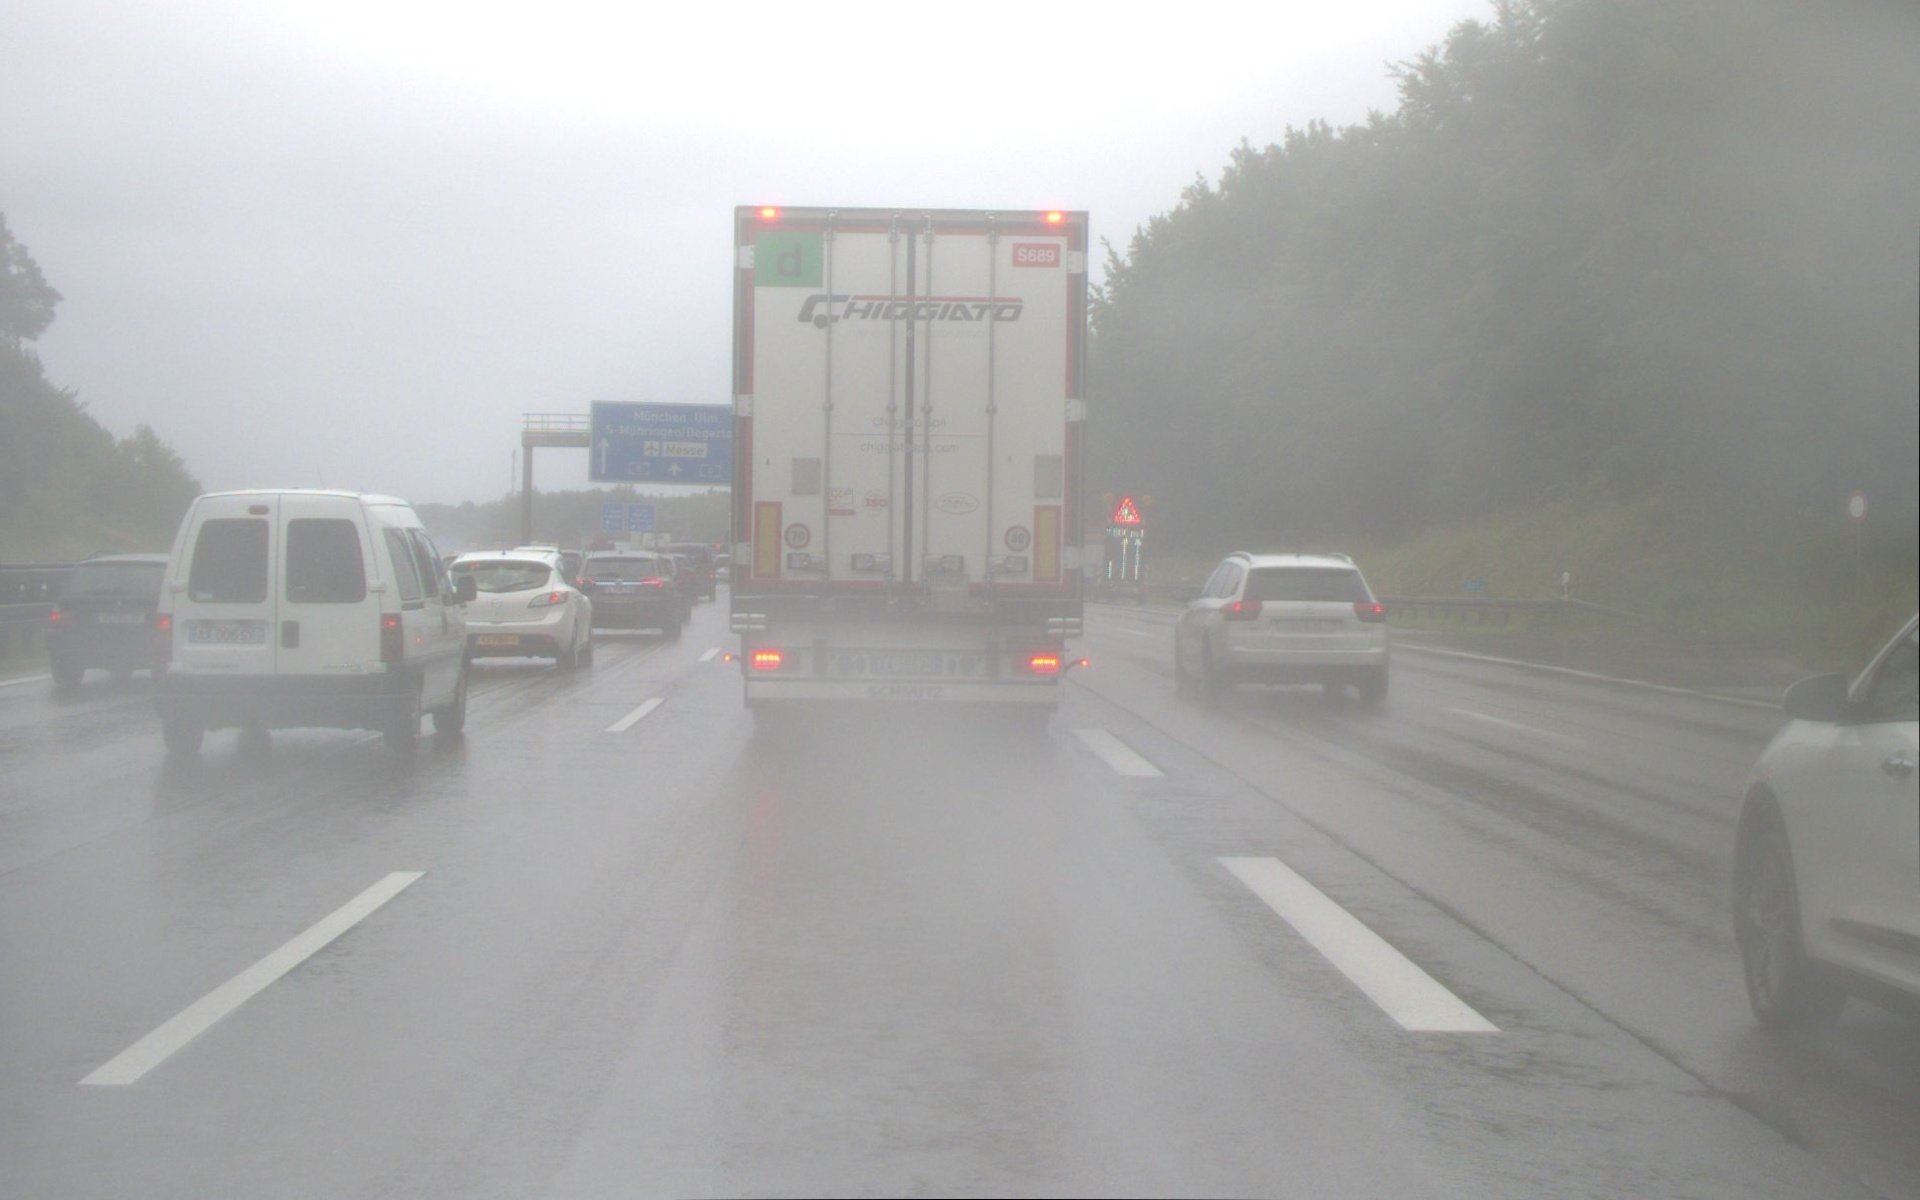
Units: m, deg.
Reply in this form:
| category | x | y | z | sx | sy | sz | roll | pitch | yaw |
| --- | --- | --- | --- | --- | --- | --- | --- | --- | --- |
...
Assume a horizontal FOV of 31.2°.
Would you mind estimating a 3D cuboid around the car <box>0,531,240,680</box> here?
| category | x | y | z | sx | sy | sz | roll | pitch | yaw |
| --- | --- | --- | --- | --- | --- | --- | --- | --- | --- |
| car | -9.283 | 0.011 | 37.472 | 2.090 | 1.499 | 4.755 | 0 | 1 | -3 |

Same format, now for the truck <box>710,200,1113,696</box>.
| category | x | y | z | sx | sy | sz | roll | pitch | yaw |
| --- | --- | --- | --- | --- | --- | --- | --- | --- | --- |
| truck | -0.484 | -1.145 | 30.565 | 2.872 | 3.550 | 11.303 | 1 | 0 | -1 |

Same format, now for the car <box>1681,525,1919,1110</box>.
| category | x | y | z | sx | sy | sz | roll | pitch | yaw |
| --- | --- | --- | --- | --- | --- | --- | --- | --- | --- |
| car | 3.412 | 0.568 | 9.374 | 1.845 | 1.517 | 4.344 | 1 | 1 | -2 |

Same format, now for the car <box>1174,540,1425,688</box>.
| category | x | y | z | sx | sy | sz | roll | pitch | yaw |
| --- | --- | --- | --- | --- | --- | --- | --- | --- | --- |
| car | 3.415 | 0.092 | 35.450 | 2.007 | 1.389 | 4.568 | 1 | 1 | -1 |

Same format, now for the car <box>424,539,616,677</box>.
| category | x | y | z | sx | sy | sz | roll | pitch | yaw |
| --- | --- | --- | --- | --- | --- | --- | --- | --- | --- |
| car | -5.362 | 0.062 | 42.337 | 1.845 | 1.586 | 4.072 | 1 | 1 | 0 |

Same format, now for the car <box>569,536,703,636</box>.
| category | x | y | z | sx | sy | sz | roll | pitch | yaw |
| --- | --- | --- | --- | --- | --- | --- | --- | --- | --- |
| car | -5.411 | -0.263 | 57.916 | 1.845 | 1.586 | 4.467 | 1 | 1 | 0 |

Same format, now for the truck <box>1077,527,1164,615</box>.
| category | x | y | z | sx | sy | sz | roll | pitch | yaw |
| --- | --- | --- | --- | --- | --- | --- | --- | --- | --- |
| truck | 5.502 | -1.034 | 118.658 | 2.589 | 2.931 | 6.456 | 1 | 1 | 0 |

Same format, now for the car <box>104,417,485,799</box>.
| category | x | y | z | sx | sy | sz | roll | pitch | yaw |
| --- | --- | --- | --- | --- | --- | --- | --- | --- | --- |
| car | -4.869 | 0.009 | 25.875 | 2.212 | 2.564 | 5.016 | 1 | 1 | -4 |
